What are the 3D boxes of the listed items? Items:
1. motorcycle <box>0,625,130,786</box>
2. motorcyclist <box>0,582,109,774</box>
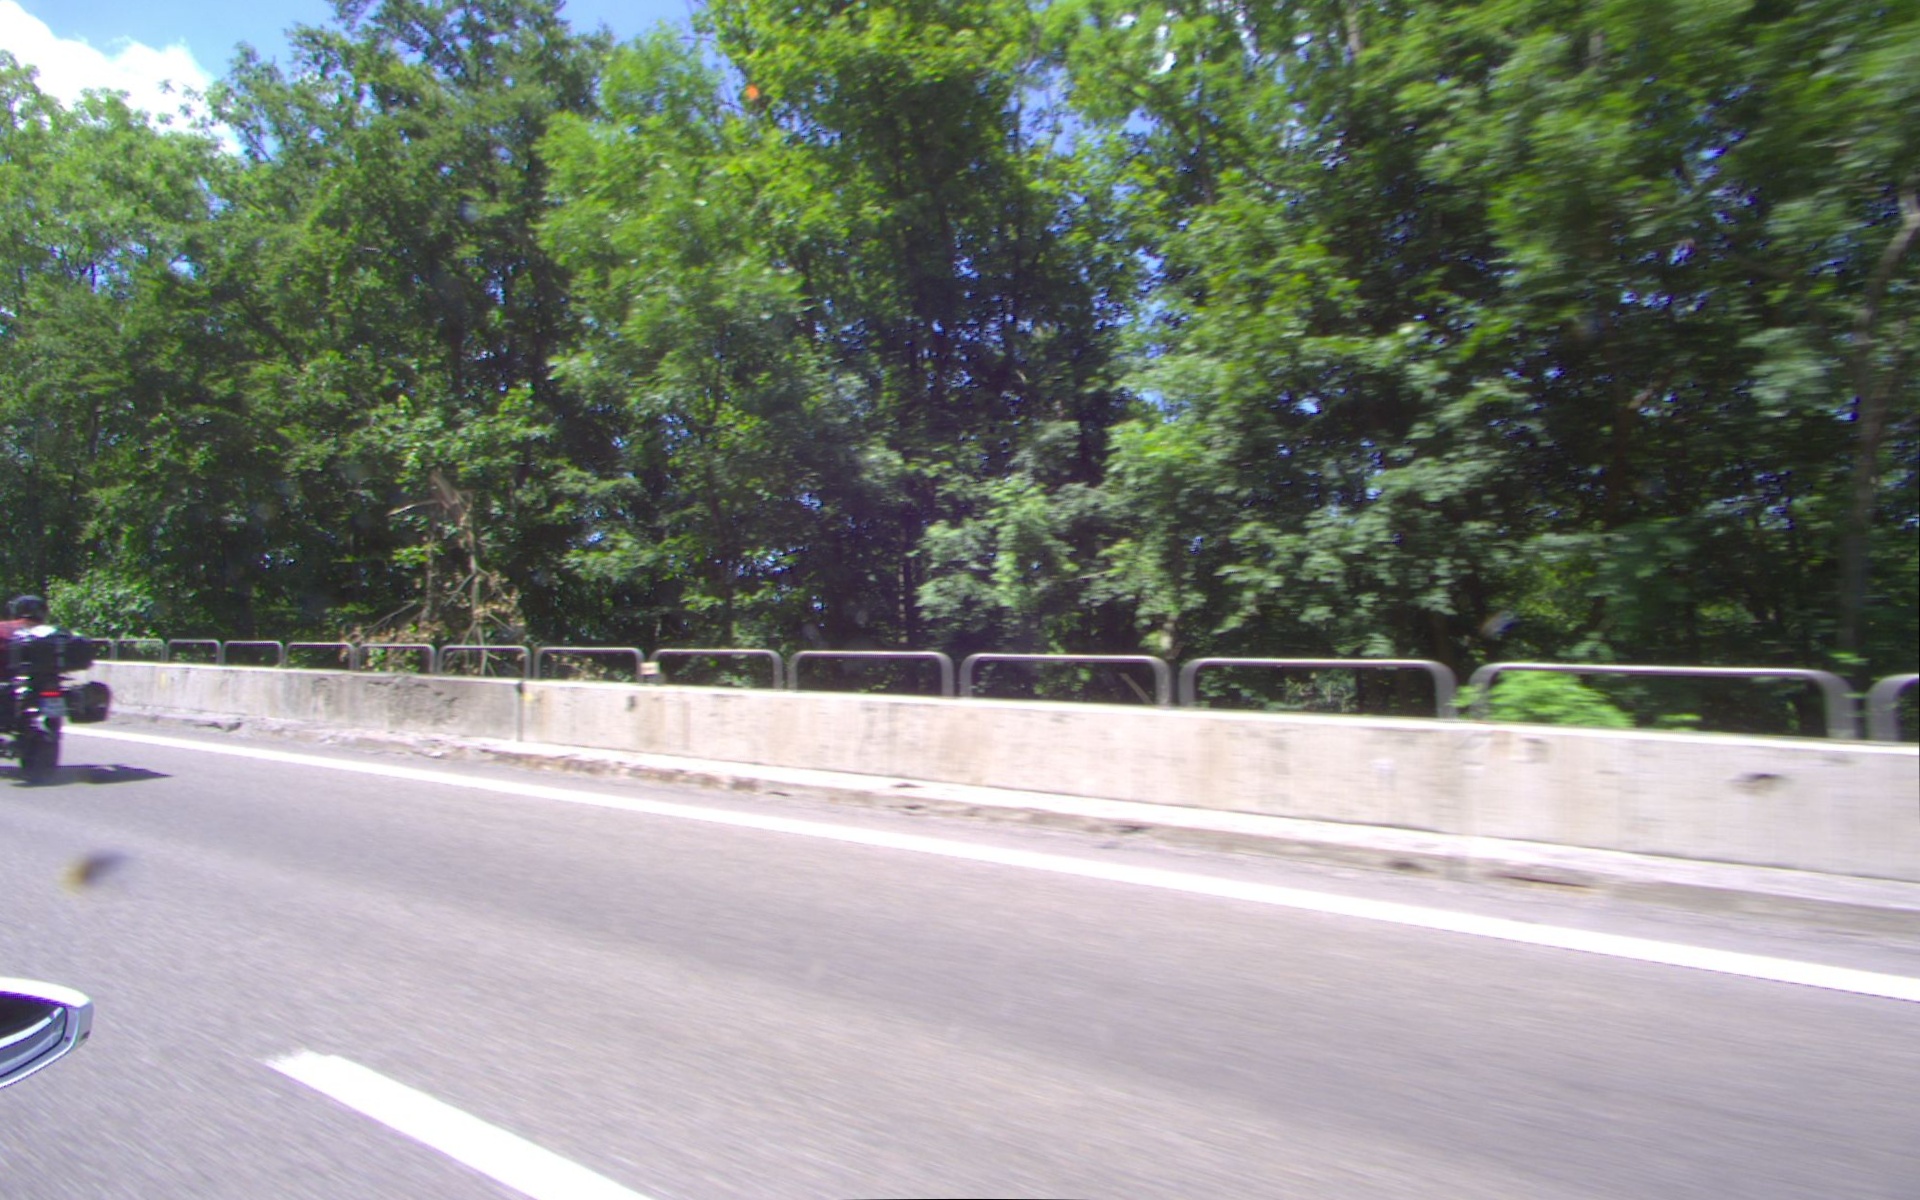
[{"bbox_3d":[-9.430,0.972,10.057,2.644,1.437,0.970,-1,-2,34],"label":"motorcycle"},{"bbox_3d":[-9.515,0.755,10.095,1.319,1.823,1.059,0,-2,32],"label":"motorcyclist"}]
